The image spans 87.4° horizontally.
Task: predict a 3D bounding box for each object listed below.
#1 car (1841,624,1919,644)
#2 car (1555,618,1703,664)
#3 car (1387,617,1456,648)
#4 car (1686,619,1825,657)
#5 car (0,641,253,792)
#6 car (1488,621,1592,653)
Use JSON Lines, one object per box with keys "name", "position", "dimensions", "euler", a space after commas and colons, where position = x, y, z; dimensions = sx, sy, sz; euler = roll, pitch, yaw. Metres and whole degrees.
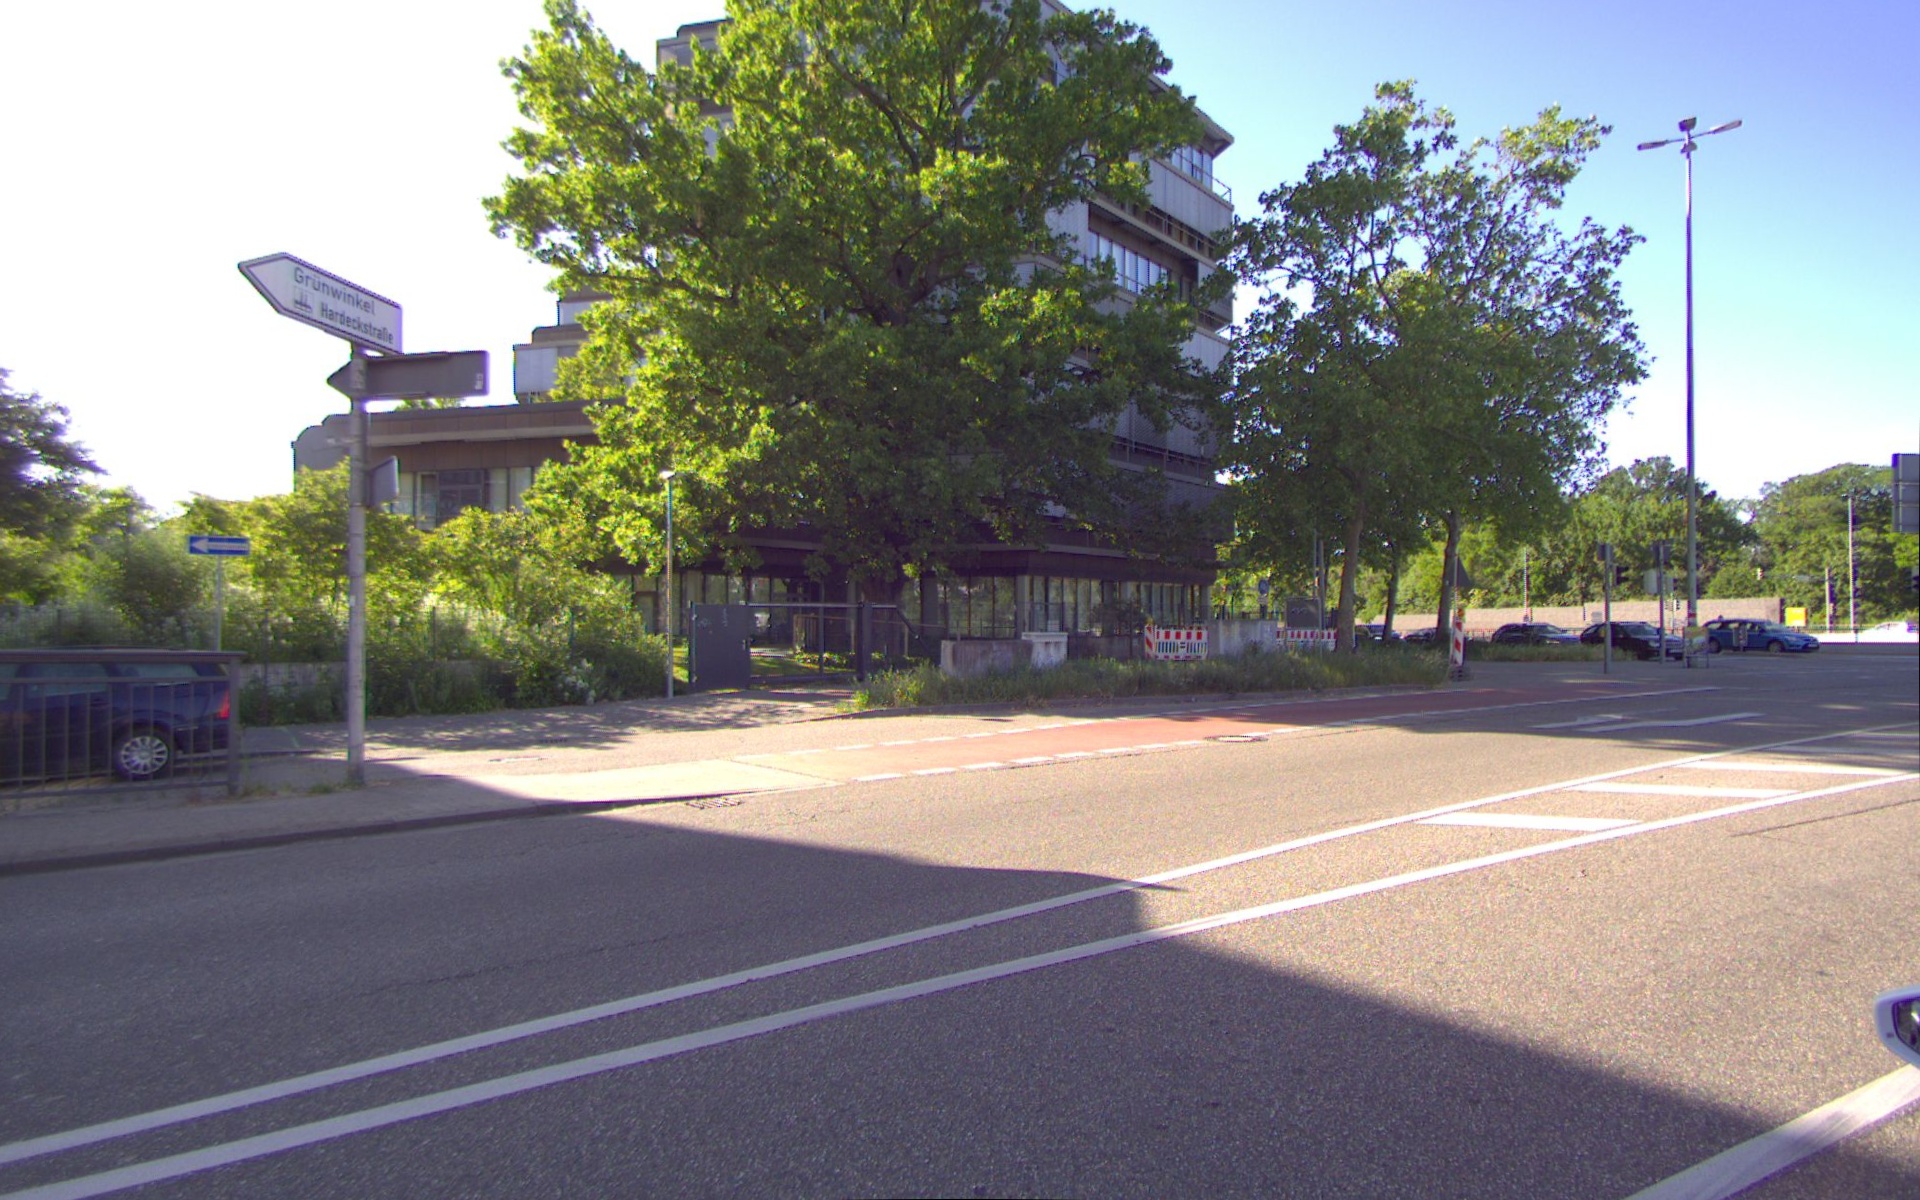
{"name": "car", "position": [69.978, 2.551, 76.326], "dimensions": [1.753, 1.400, 4.512], "euler": [0, -1, -8]}
{"name": "car", "position": [25.821, 1.531, 38.988], "dimensions": [1.918, 1.643, 4.773], "euler": [0, -1, -13]}
{"name": "car", "position": [26.471, 1.848, 57.764], "dimensions": [1.843, 1.666, 4.509], "euler": [0, -1, -1]}
{"name": "car", "position": [34.342, 1.613, 43.509], "dimensions": [1.919, 1.561, 4.443], "euler": [0, -1, -16]}
{"name": "car", "position": [-10.677, 1.319, 11.340], "dimensions": [4.339, 1.528, 1.642], "euler": [-1, -3, -38]}
{"name": "car", "position": [26.104, 1.633, 45.395], "dimensions": [1.844, 1.376, 4.507], "euler": [0, -1, -4]}
